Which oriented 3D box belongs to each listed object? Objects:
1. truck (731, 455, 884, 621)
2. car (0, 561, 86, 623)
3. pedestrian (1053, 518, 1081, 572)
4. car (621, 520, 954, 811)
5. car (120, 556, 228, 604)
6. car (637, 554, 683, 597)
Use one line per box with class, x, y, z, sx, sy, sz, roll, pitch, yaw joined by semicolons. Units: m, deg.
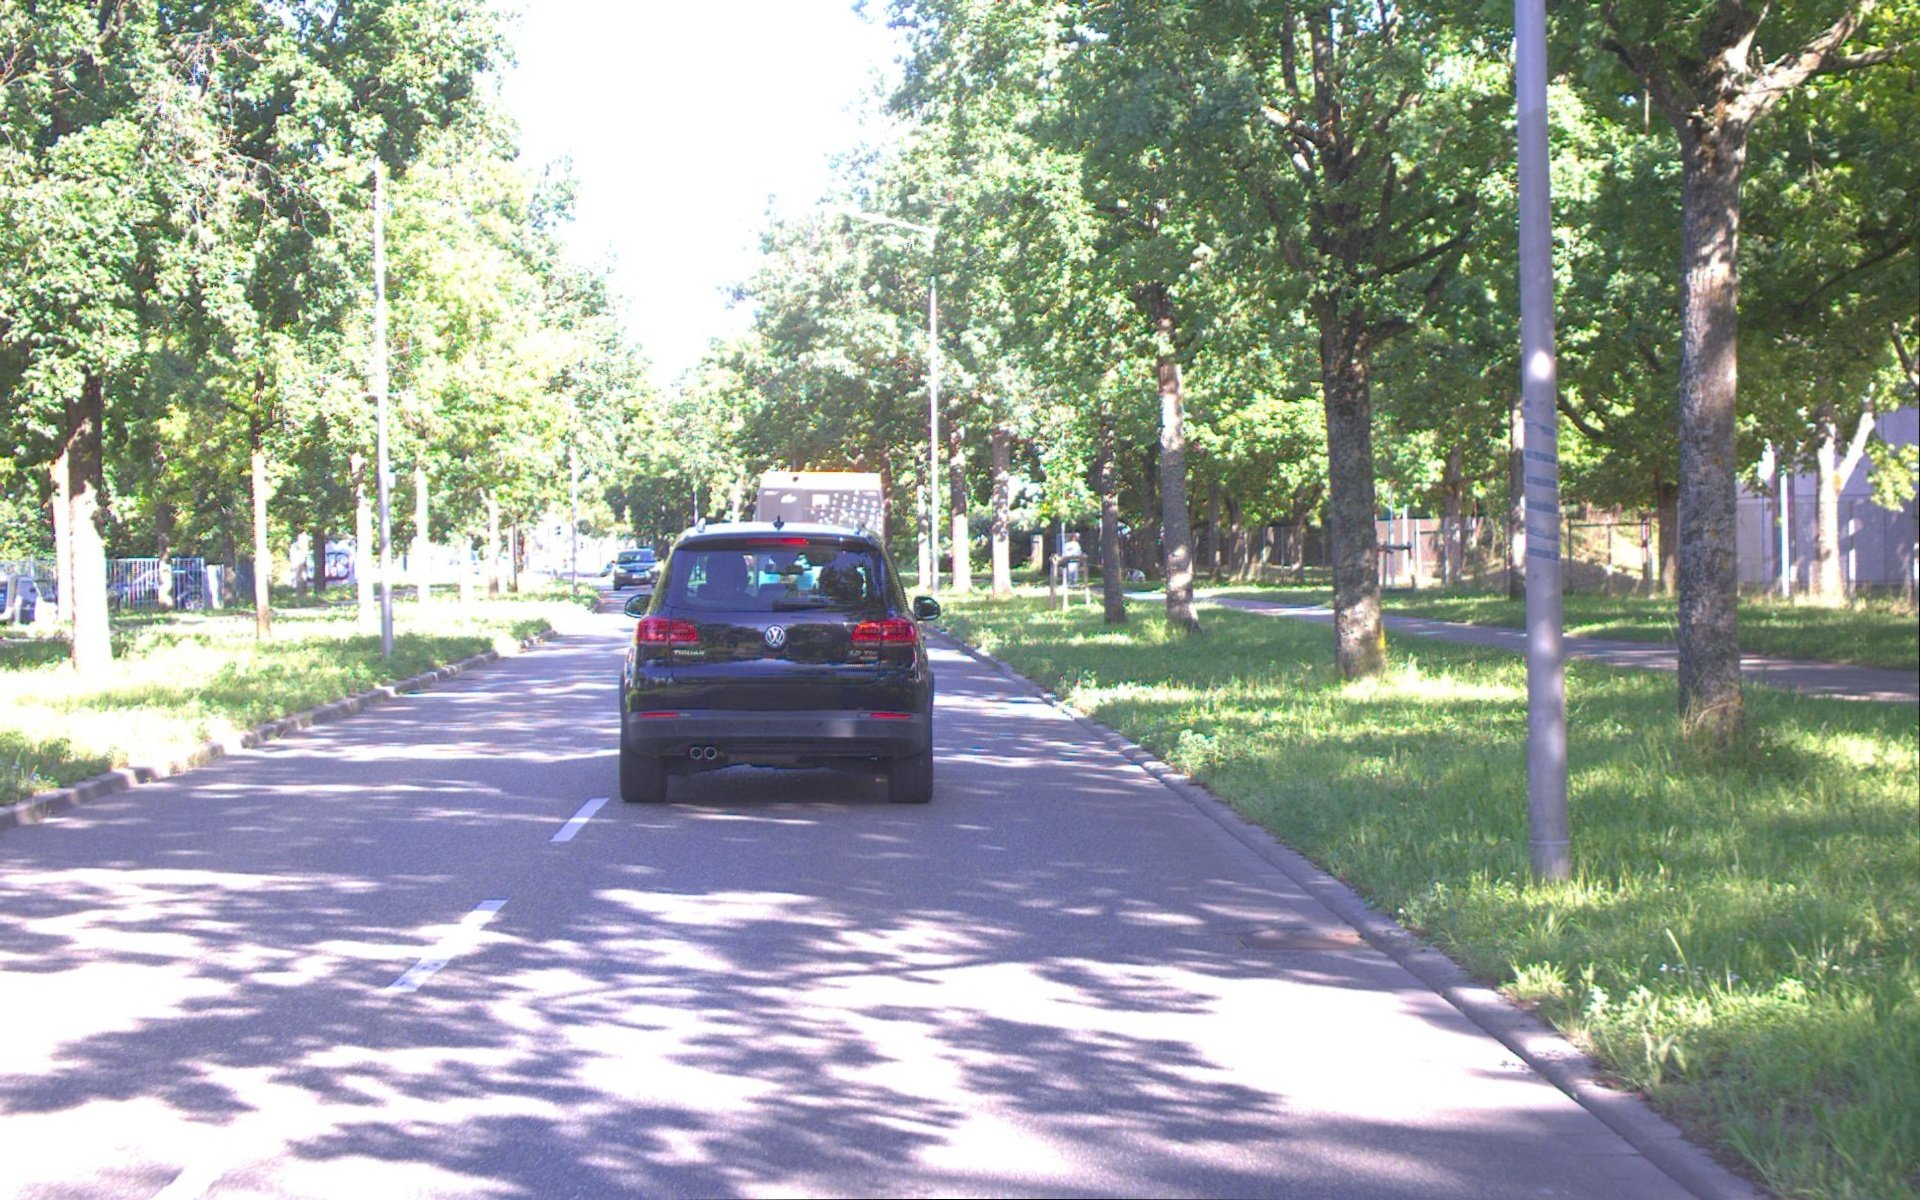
truck;-3.275;-1.279;71.914;2.511;3.232;8.154;-1;1;-7
car;-22.832;-0.202;83.794;2.568;1.465;1.425;-1;1;12
pedestrian;3.278;-1.679;105.379;0.608;1.625;0.719;-3;2;-15
car;-1.161;0.350;21.377;1.782;1.628;4.001;1;1;-7
car;-30.195;-0.761;132.127;3.986;1.795;2.001;1;0;-12
car;-12.286;-0.998;140.989;1.767;1.666;4.200;-2;1;-5
